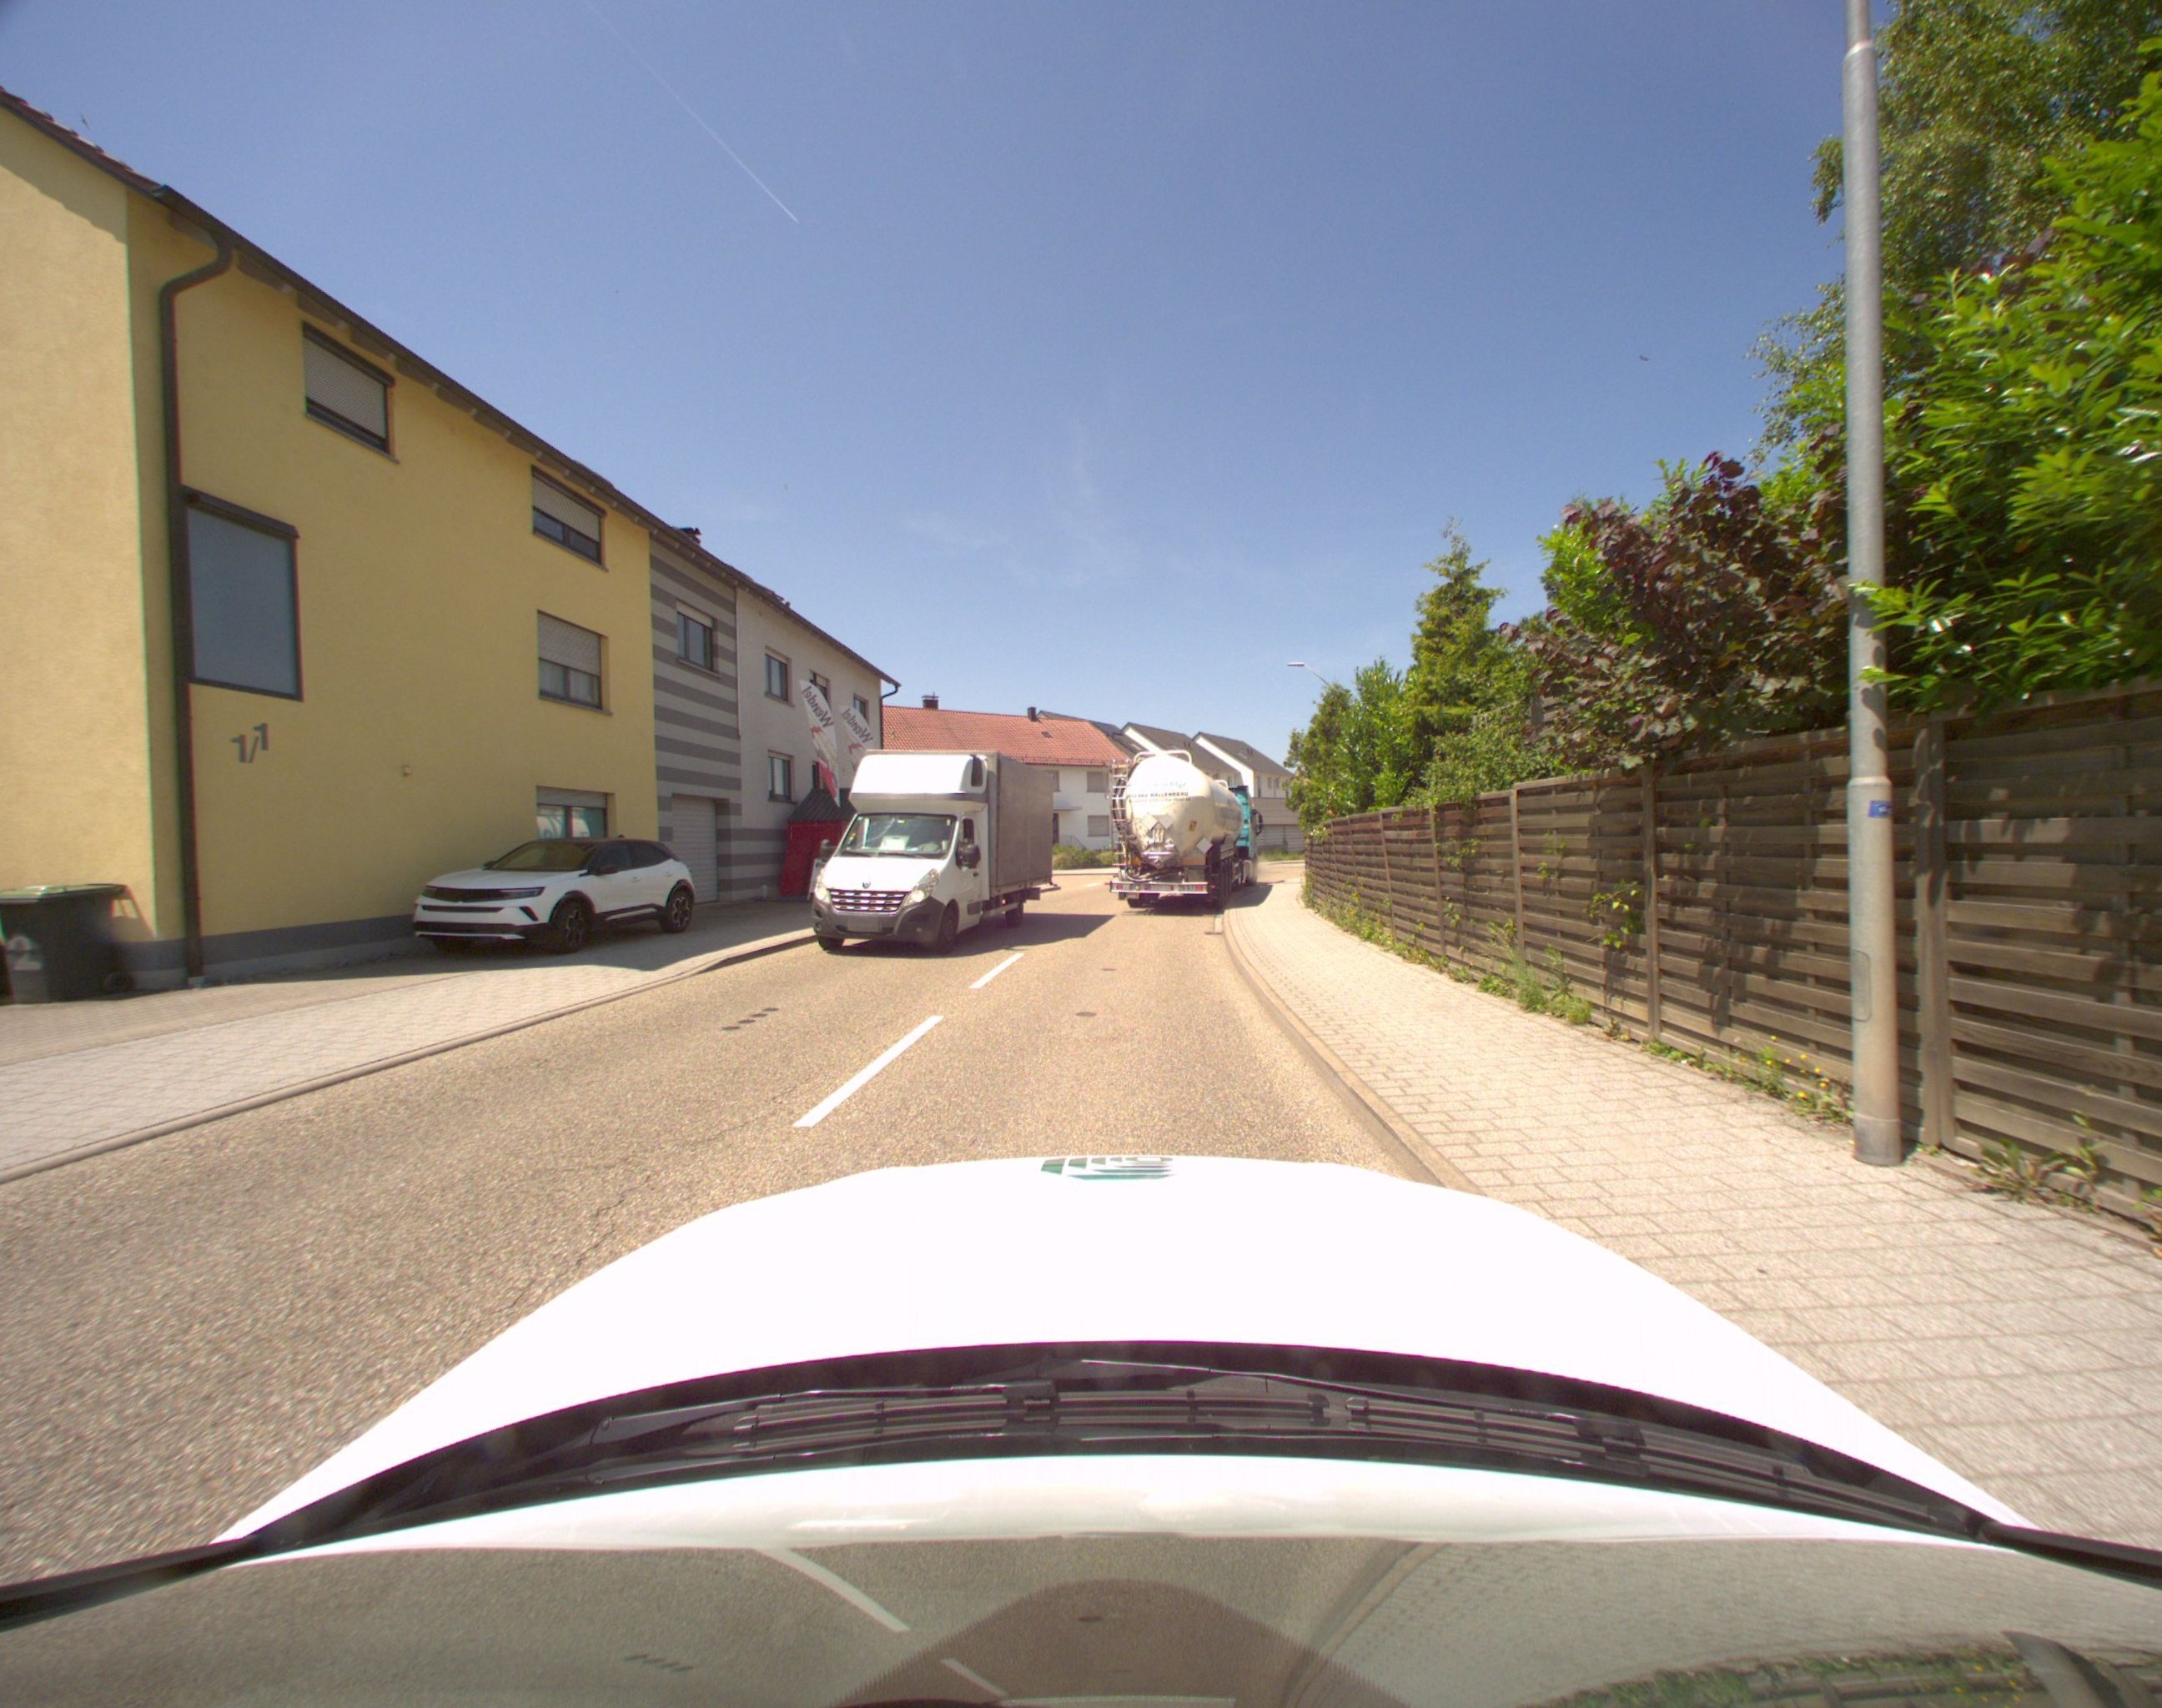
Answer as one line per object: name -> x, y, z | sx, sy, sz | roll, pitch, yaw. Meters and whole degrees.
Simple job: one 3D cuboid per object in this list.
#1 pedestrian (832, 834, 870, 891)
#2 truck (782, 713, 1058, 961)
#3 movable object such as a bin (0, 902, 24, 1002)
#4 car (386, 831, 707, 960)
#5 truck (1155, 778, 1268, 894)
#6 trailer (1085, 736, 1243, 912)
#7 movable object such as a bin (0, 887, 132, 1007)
pedestrian -> -6.483, 0.227, 22.969 | 0.605, 1.587, 0.814 | -1, 0, 36
truck -> -2.361, -0.297, 15.019 | 2.452, 3.367, 7.635 | 1, 1, 9
movable object such as a bin -> -10.215, 0.913, 7.328 | 0.595, 0.910, 0.608 | -1, 0, 2
car -> -7.454, 0.489, 11.976 | 1.722, 1.552, 4.193 | -1, 0, 4
truck -> 5.275, -0.697, 32.003 | 2.962, 3.964, 5.609 | -5, 0, 21
trailer -> 3.004, -0.791, 24.387 | 2.931, 3.947, 11.665 | -1, 1, 14
movable object such as a bin -> -9.509, 0.851, 7.628 | 0.498, 1.043, 0.608 | -1, 0, 2
